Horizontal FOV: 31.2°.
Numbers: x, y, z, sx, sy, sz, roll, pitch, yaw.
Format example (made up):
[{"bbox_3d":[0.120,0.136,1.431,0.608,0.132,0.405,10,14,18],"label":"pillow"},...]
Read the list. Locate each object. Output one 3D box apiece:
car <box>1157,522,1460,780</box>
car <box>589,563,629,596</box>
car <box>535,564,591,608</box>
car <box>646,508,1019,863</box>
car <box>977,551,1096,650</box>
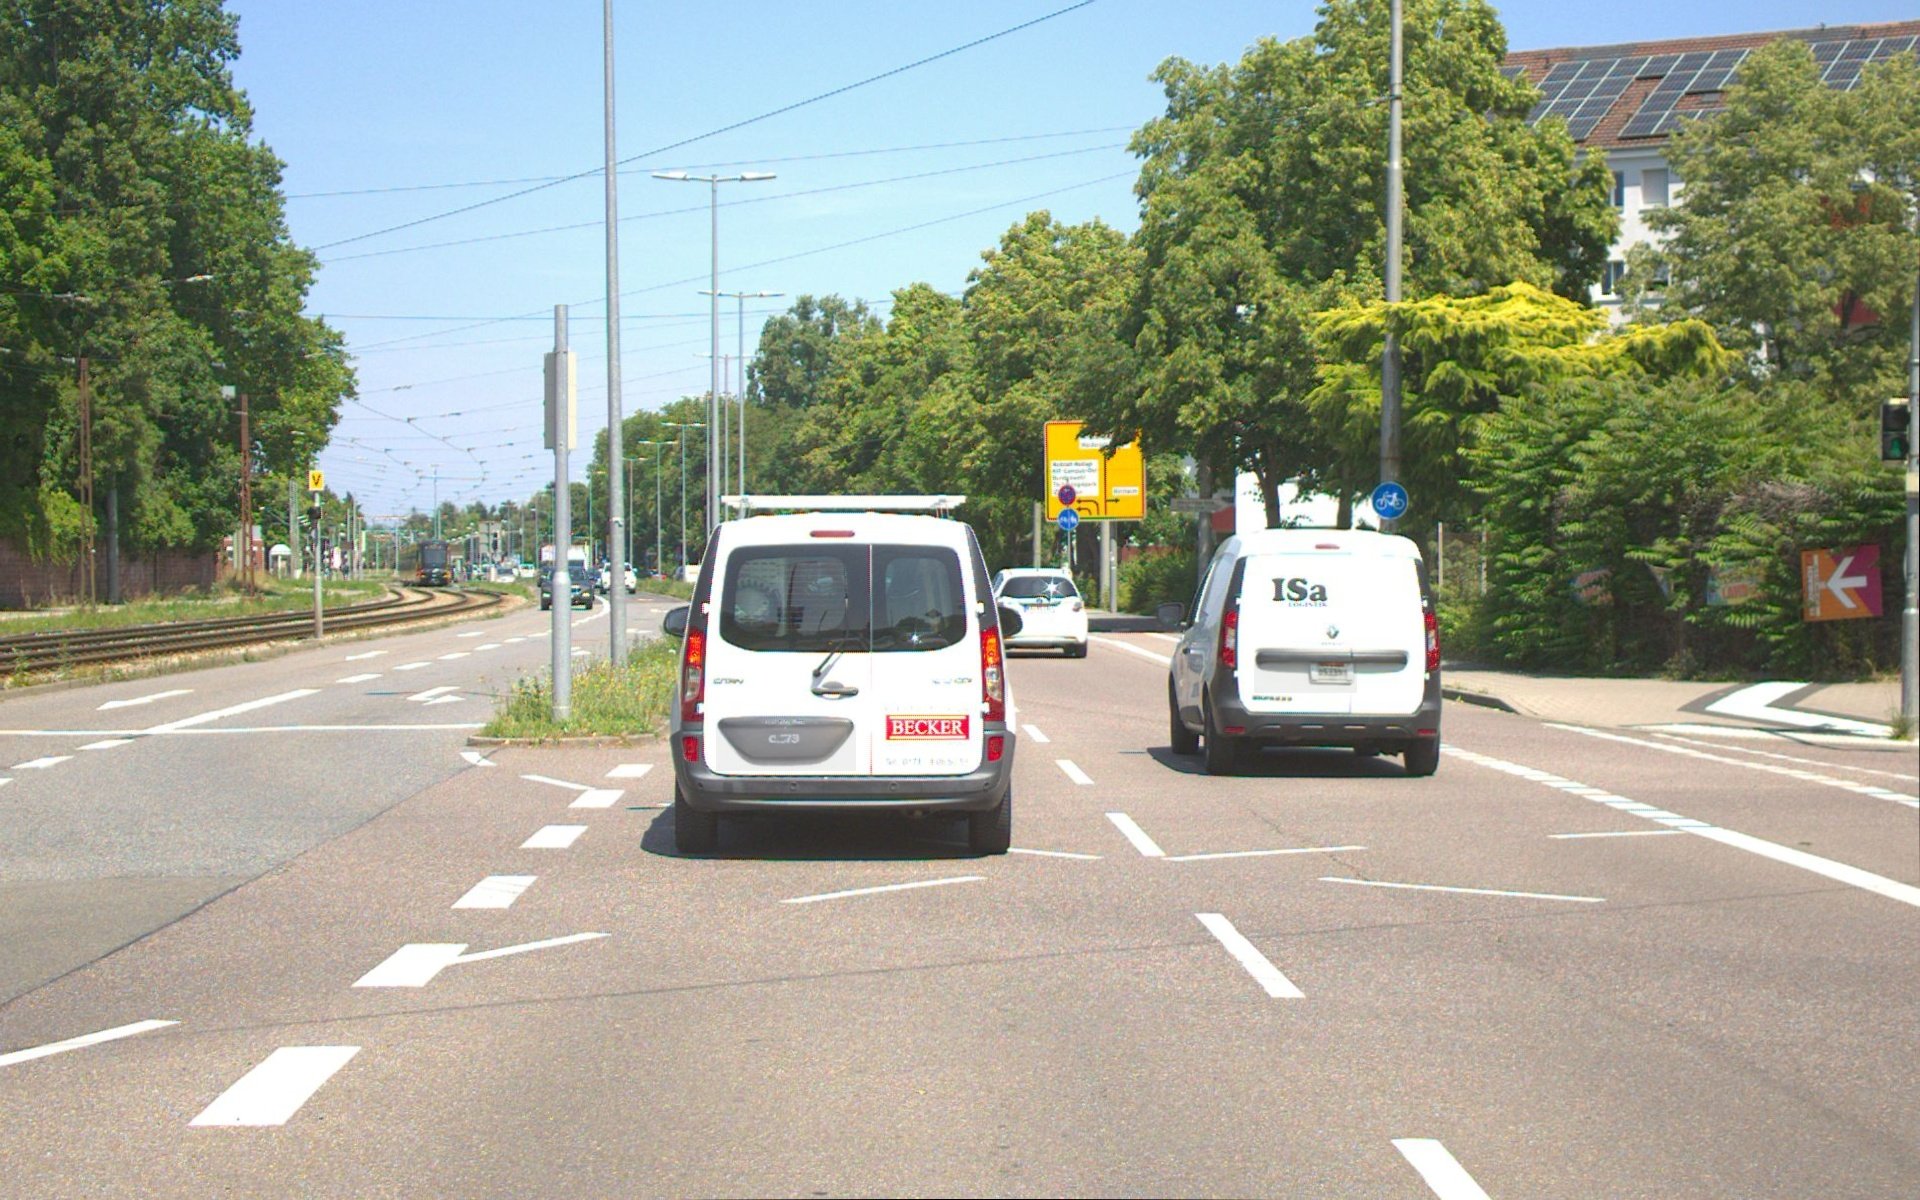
[{"bbox_3d":[2.591,0.340,26.419,1.727,1.782,4.065,2,1,-2],"label":"car"},{"bbox_3d":[-19.762,-1.167,193.770,1.993,1.809,4.000,0,1,-2],"label":"car"},{"bbox_3d":[-14.081,-0.521,122.154,1.697,1.507,4.066,0,1,-3],"label":"car"},{"bbox_3d":[-0.680,0.393,19.325,1.821,1.734,4.396,1,1,-1],"label":"car"},{"bbox_3d":[1.284,-0.013,59.141,1.835,1.563,4.000,2,1,-1],"label":"car"}]
